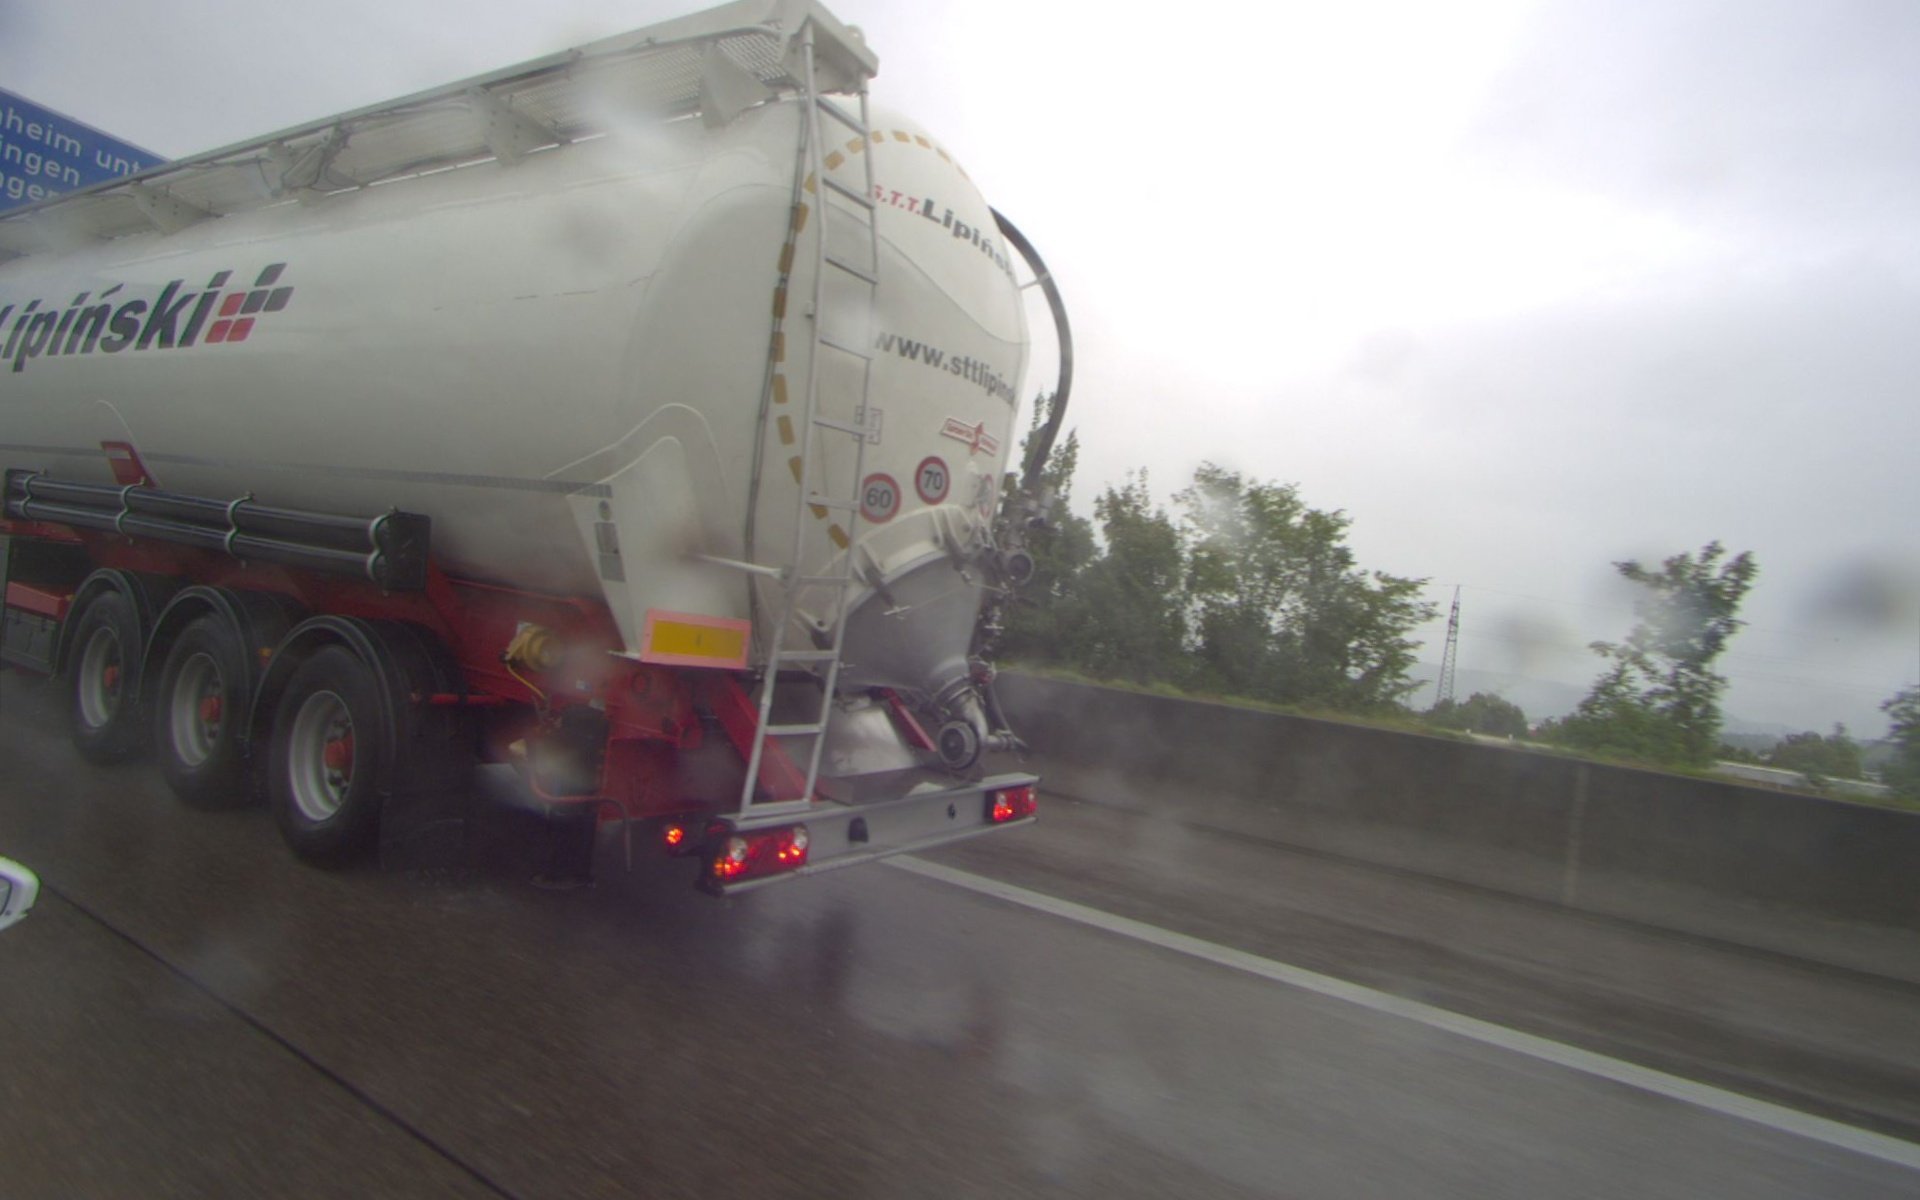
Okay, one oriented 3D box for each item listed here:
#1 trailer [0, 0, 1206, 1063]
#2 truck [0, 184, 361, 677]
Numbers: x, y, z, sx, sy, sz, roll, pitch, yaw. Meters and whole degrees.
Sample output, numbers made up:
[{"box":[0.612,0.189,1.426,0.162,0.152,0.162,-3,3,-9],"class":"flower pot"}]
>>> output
[{"box":[-4.495,-0.899,7.329,11.474,3.712,3.194,7,-2,32],"class":"trailer"},{"box":[-10.253,-1.622,10.952,7.092,3.851,3.111,7,-1,32],"class":"truck"}]
